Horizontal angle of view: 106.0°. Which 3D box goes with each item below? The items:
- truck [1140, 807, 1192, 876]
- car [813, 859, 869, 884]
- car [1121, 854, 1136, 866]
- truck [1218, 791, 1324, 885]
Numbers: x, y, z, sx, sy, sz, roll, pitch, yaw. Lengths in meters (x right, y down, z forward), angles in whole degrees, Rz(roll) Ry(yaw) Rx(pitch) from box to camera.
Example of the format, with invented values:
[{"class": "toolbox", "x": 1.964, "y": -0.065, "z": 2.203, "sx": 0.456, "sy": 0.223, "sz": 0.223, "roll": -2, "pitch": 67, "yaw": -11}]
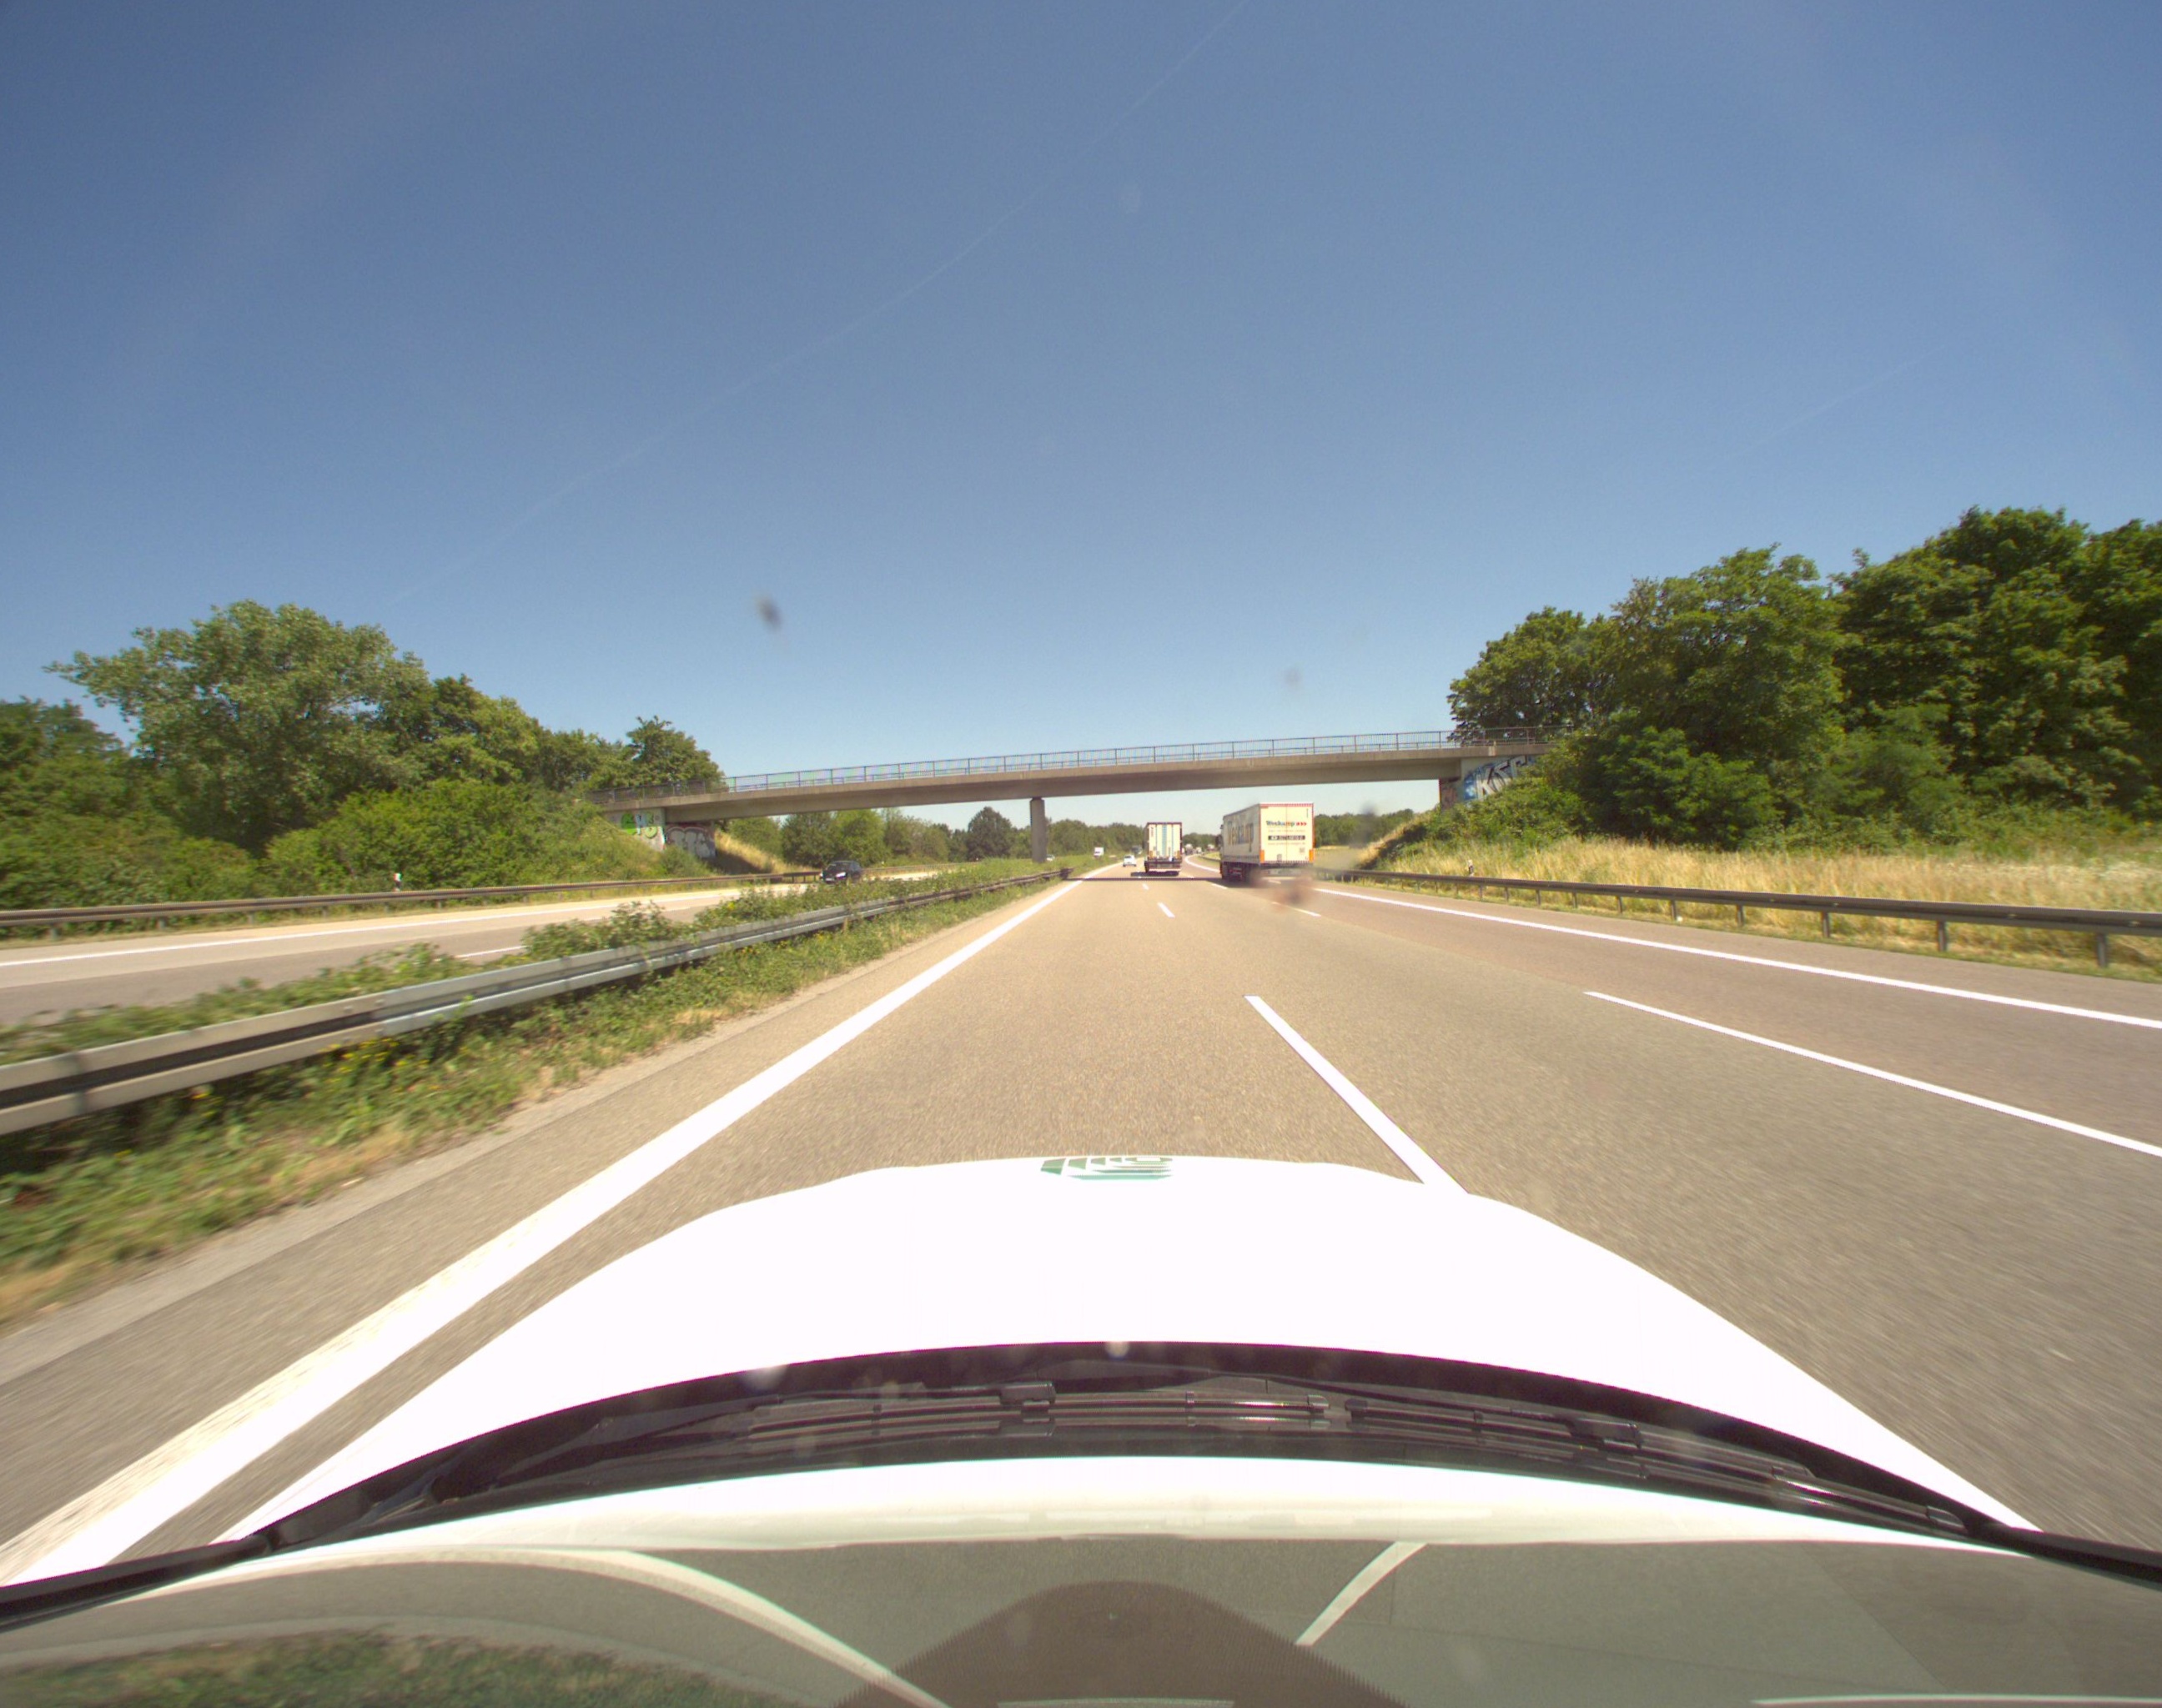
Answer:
[{"class": "truck", "x": 6.824, "y": -0.982, "z": 68.159, "sx": 3.650, "sy": 5.018, "sz": 16.033, "roll": -1, "pitch": 0, "yaw": 4}, {"class": "car", "x": -14.791, "y": 1.026, "z": 50.437, "sx": 1.819, "sy": 1.461, "sz": 4.325, "roll": 0, "pitch": 0, "yaw": 5}, {"class": "car", "x": 6.311, "y": 0.765, "z": 108.225, "sx": 1.819, "sy": 1.547, "sz": 4.324, "roll": 0, "pitch": 0, "yaw": 5}, {"class": "truck", "x": 10.165, "y": -0.804, "z": 45.753, "sx": 3.167, "sy": 4.304, "sz": 16.033, "roll": -1, "pitch": 0, "yaw": 4}]
